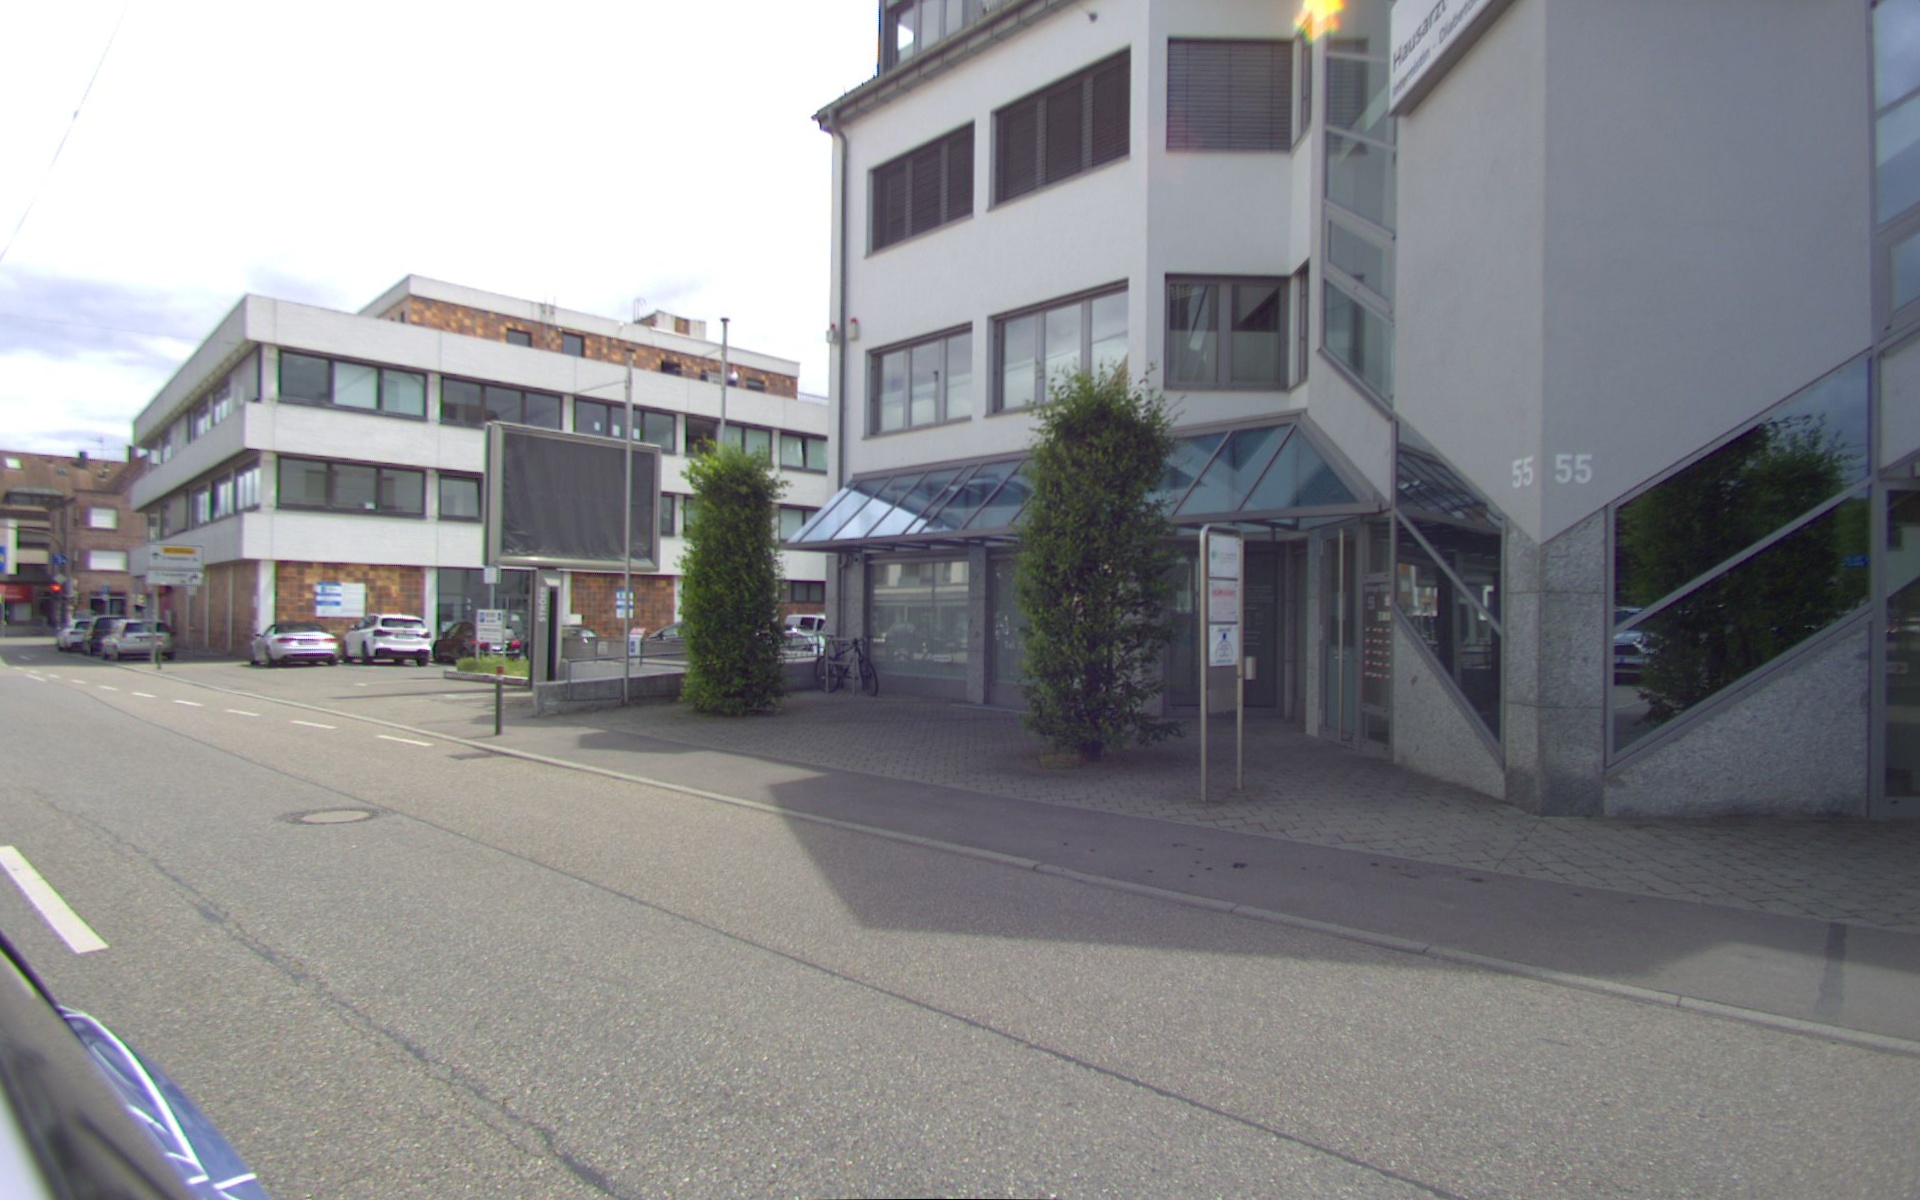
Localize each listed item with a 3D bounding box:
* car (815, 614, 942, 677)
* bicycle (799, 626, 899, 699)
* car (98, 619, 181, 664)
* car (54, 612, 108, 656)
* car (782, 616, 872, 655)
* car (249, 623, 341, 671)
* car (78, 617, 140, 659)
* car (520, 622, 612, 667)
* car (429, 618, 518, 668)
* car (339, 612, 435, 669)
[{"bbox_3d":[-2.632,1.389,32.020,3.989,1.829,1.833,0,-1,44],"label":"car"},{"bbox_3d":[-1.877,1.025,17.009,1.684,1.150,0.636,0,-1,37],"label":"bicycle"},{"bbox_3d":[-29.252,1.437,36.023,4.220,1.437,1.815,0,-1,44],"label":"car"},{"bbox_3d":[-38.247,1.429,43.995,1.677,1.790,4.466,1,-1,-42],"label":"car"},{"bbox_3d":[-6.264,1.609,47.295,1.948,1.678,4.431,0,-1,-44],"label":"car"},{"bbox_3d":[-20.933,1.425,31.775,1.798,1.338,4.241,0,0,-42],"label":"car"},{"bbox_3d":[-34.169,1.483,40.606,1.783,1.541,4.005,0,-1,-42],"label":"car"},{"bbox_3d":[-14.931,1.633,38.245,3.665,1.578,1.773,0,-1,42],"label":"car"},{"bbox_3d":[-17.105,1.473,35.533,3.844,1.620,1.625,0,-1,45],"label":"car"},{"bbox_3d":[-18.868,1.307,33.265,1.870,1.710,3.805,4,-3,-42],"label":"car"}]
